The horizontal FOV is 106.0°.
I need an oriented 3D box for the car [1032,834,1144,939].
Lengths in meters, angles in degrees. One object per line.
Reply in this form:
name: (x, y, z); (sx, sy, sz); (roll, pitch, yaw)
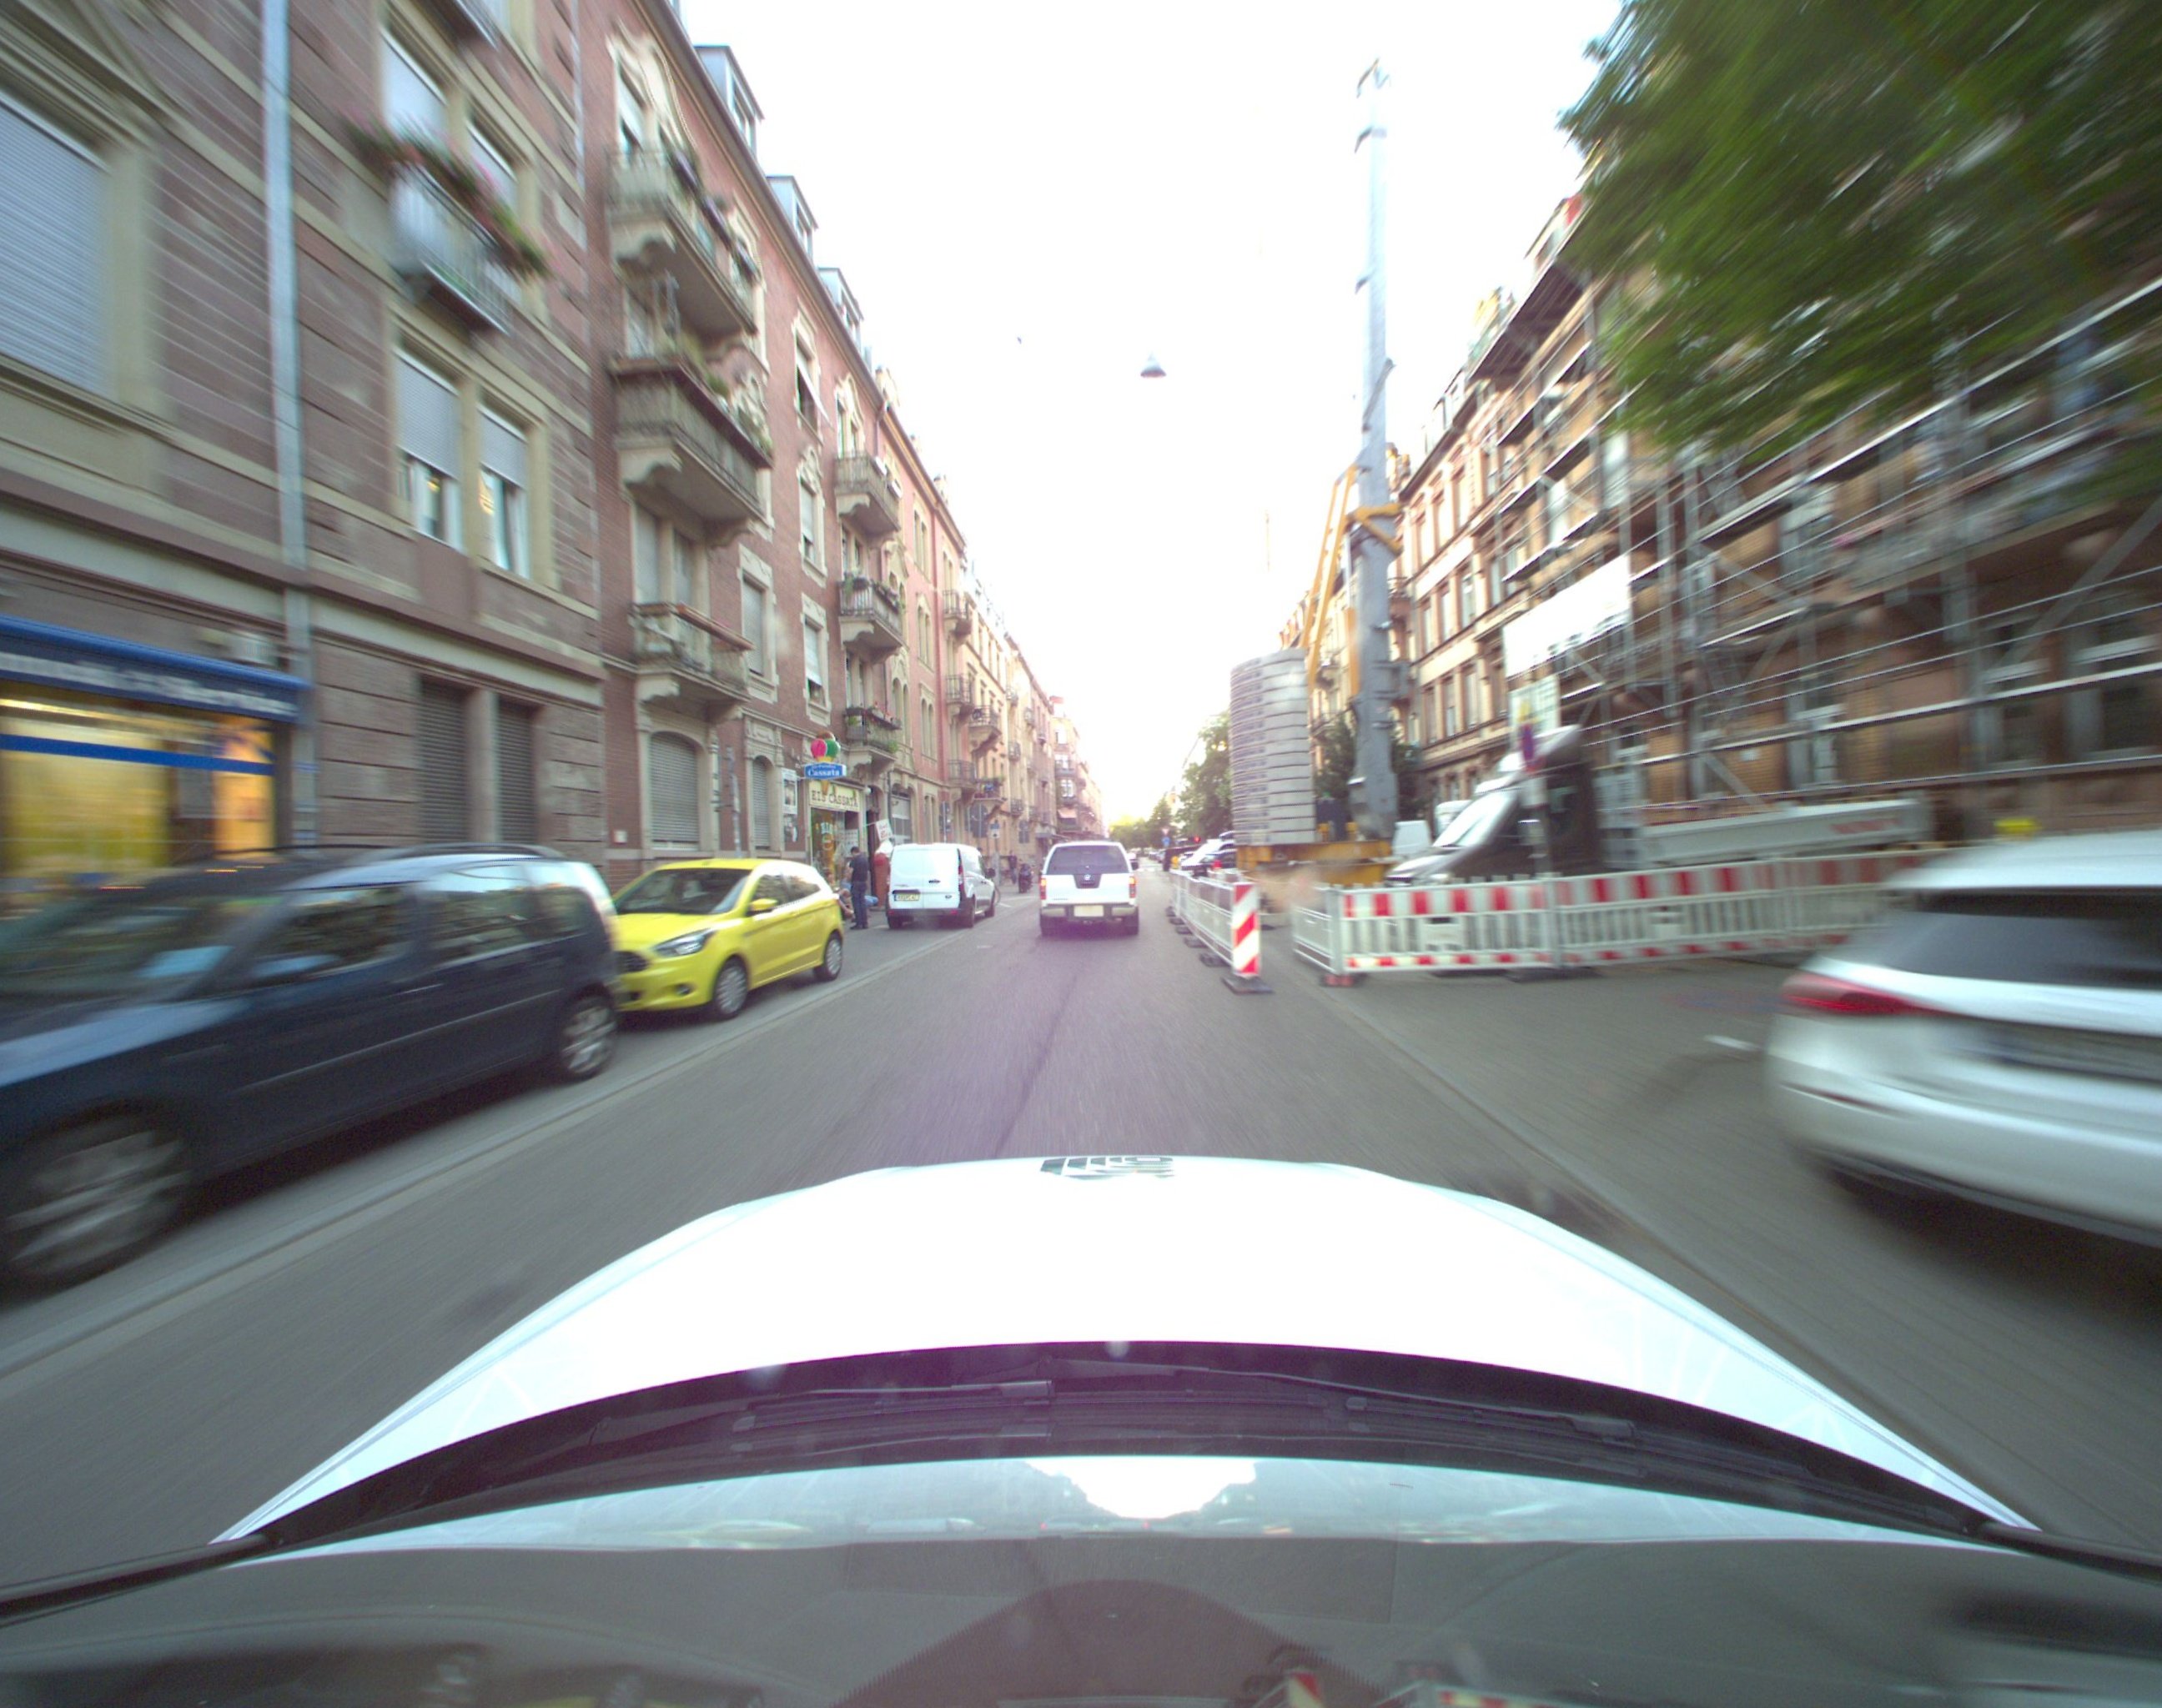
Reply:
car: (0.099, 0.600, 16.849); (1.932, 1.810, 4.999); (-1, -1, -1)

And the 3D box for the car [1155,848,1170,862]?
car: (11.847, 0.131, 119.046); (1.934, 1.934, 4.003); (-1, -1, 3)

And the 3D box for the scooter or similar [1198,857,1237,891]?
scooter or similar: (4.837, 0.698, 28.947); (0.657, 1.150, 1.474); (-4, 0, -20)

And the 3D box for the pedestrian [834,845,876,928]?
pedestrian: (-4.855, 0.687, 17.491); (0.613, 1.730, 0.589); (-1, -1, 32)

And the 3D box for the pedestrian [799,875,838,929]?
pedestrian: (-5.731, 1.035, 17.805); (0.629, 1.140, 0.573); (-1, -1, 1)

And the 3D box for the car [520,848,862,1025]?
car: (-3.989, 0.738, 9.124); (1.697, 1.530, 3.798); (-2, 0, 5)

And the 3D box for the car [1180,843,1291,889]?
car: (6.025, 0.454, 31.772); (3.871, 1.516, 1.834); (-3, 0, -23)

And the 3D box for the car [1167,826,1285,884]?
car: (6.655, 0.045, 37.308); (4.944, 2.362, 1.985); (-3, 0, -23)

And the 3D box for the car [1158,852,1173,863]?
car: (11.411, 0.497, 110.264); (1.827, 1.542, 4.003); (-1, -1, 3)

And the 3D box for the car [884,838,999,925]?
car: (-3.136, 0.599, 19.253); (1.763, 1.789, 4.589); (-1, -1, 2)

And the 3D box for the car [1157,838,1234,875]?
car: (8.104, 0.153, 57.349); (5.461, 2.072, 1.912); (-5, 1, -35)

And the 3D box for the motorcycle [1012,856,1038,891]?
motorcycle: (-2.313, 0.818, 33.926); (0.681, 1.405, 2.018); (-1, -1, 6)

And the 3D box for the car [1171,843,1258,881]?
car: (7.044, 0.416, 42.837); (4.177, 1.590, 1.869); (-5, 1, -28)

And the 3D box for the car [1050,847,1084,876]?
car: (-0.954, 0.532, 59.461); (2.101, 1.921, 5.028); (-2, 0, 2)

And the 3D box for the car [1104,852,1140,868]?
car: (4.643, 0.724, 91.821); (3.732, 1.728, 1.777); (-1, -1, 14)

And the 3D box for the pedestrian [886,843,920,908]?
pedestrian: (-4.997, 0.601, 22.910); (0.592, 1.814, 0.724); (-1, -1, 22)

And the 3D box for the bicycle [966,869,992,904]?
bicycle: (-3.232, 1.029, 25.956); (0.463, 1.068, 1.523); (-1, -1, 7)

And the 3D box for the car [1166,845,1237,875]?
car: (7.596, 0.363, 51.343); (4.120, 1.551, 1.802); (-5, 1, -28)

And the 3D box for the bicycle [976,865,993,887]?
bicycle: (-4.557, 1.027, 38.480); (0.445, 1.030, 1.743); (-1, -1, 5)

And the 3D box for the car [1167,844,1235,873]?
car: (7.973, 0.315, 54.009); (4.120, 1.551, 1.802); (-5, 1, -28)

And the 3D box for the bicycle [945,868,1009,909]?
bicycle: (-3.044, 1.003, 23.908); (1.782, 1.155, 0.517); (-1, -1, -18)

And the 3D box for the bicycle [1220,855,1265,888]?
bicycle: (5.732, 0.620, 28.995); (0.498, 1.136, 1.798); (-4, 1, -28)

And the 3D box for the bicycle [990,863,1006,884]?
bicycle: (-4.386, 1.015, 43.251); (0.748, 1.101, 2.023); (-1, -1, -3)

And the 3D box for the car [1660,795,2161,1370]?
car: (4.461, 0.543, 3.511); (4.009, 1.488, 1.668); (-4, 0, -31)

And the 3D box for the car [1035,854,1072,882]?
car: (-1.577, 0.784, 47.527); (1.830, 1.471, 4.174); (-2, 0, 2)

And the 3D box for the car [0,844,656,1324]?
car: (-4.423, 0.791, 4.336); (1.918, 1.596, 3.975); (-2, 0, 5)

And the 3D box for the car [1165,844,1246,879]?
car: (7.002, 0.415, 45.767); (4.119, 1.590, 1.802); (-5, 1, -28)

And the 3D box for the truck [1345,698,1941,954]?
truck: (7.314, -0.287, 11.466); (6.446, 3.076, 2.529); (-1, -1, 6)

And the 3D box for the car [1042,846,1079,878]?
car: (-1.283, 0.514, 53.306); (1.828, 1.921, 4.851); (-2, 0, 4)

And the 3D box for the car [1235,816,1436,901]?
car: (7.223, 0.104, 23.522); (5.152, 1.955, 1.900); (-5, 1, 2)

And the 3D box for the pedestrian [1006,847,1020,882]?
pedestrian: (-3.598, 0.539, 43.216); (0.680, 1.810, 0.960); (-1, -1, -2)
